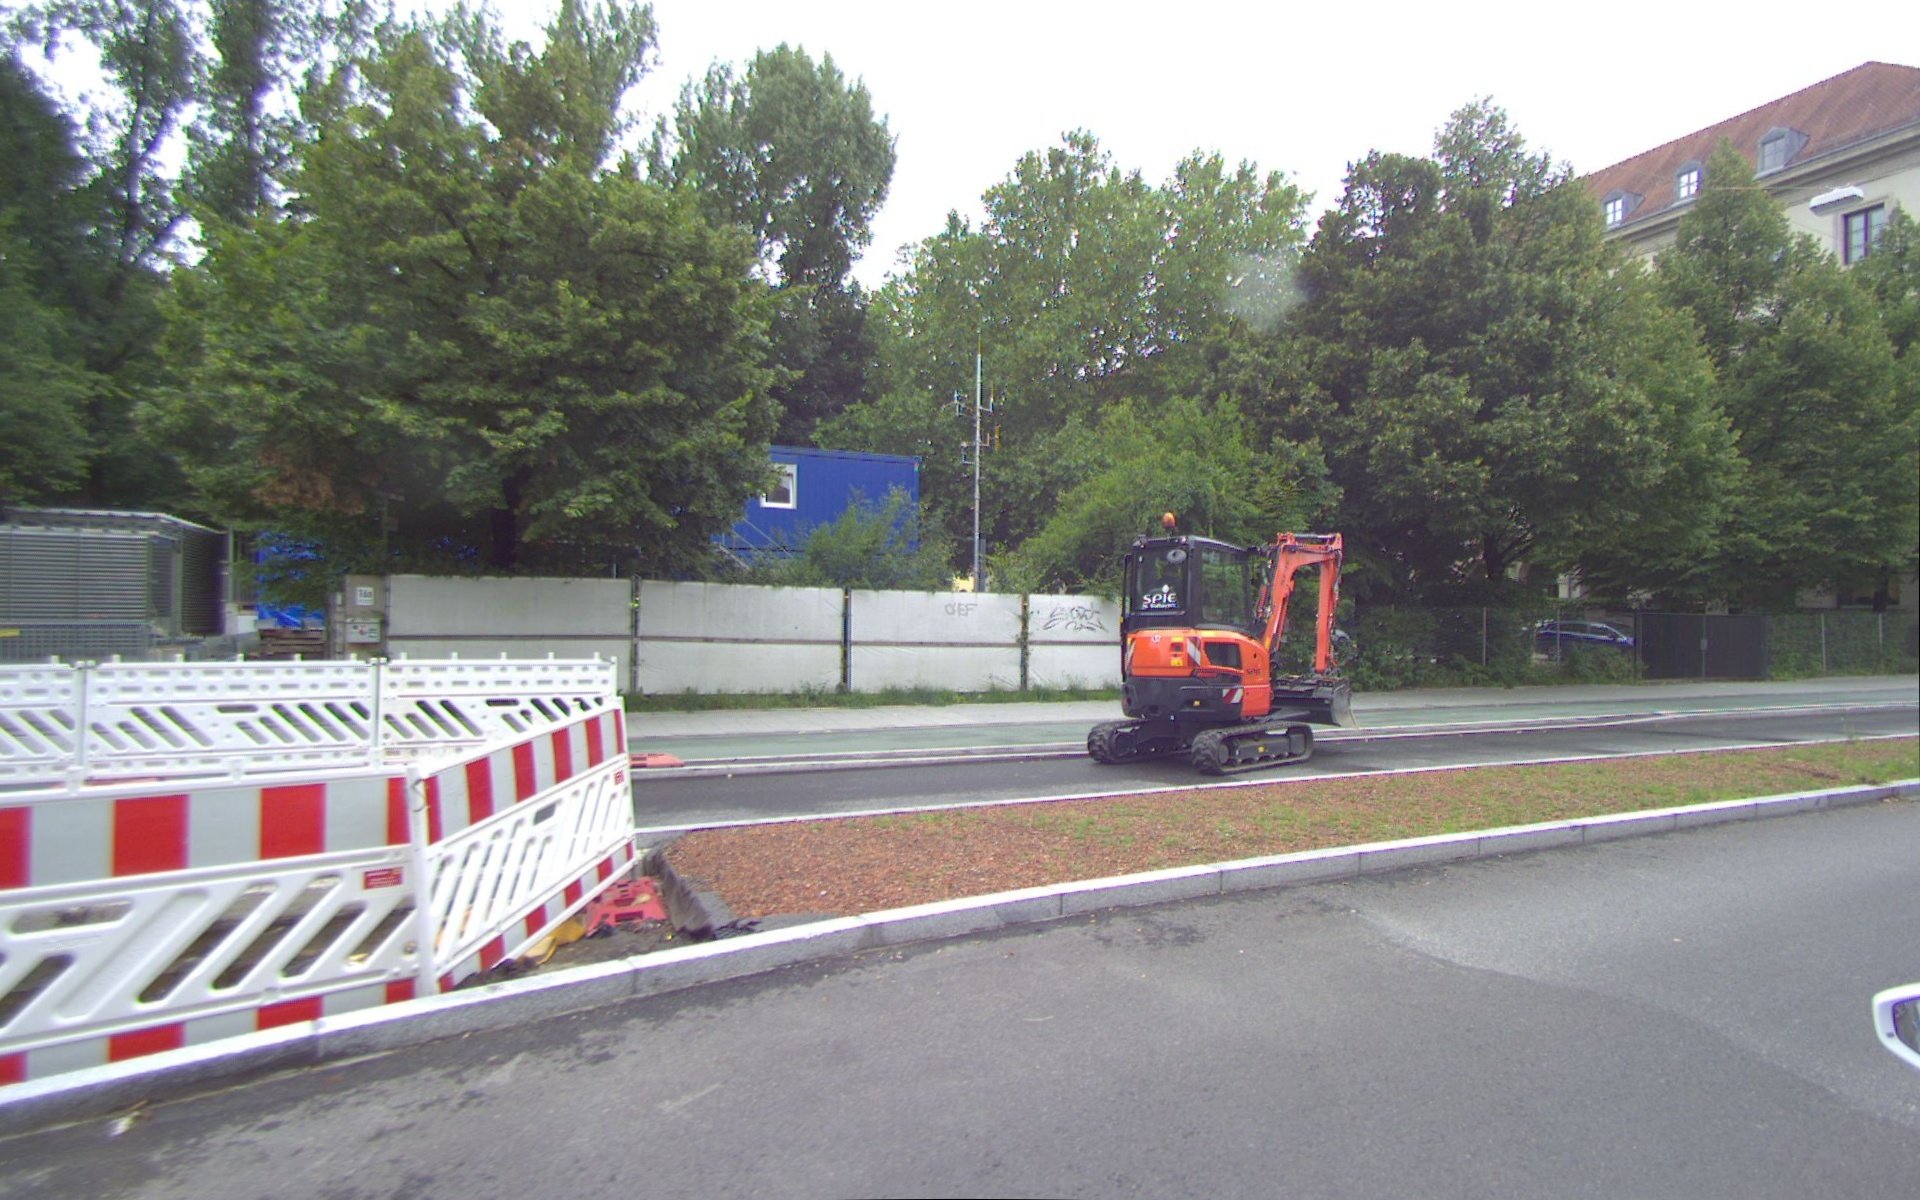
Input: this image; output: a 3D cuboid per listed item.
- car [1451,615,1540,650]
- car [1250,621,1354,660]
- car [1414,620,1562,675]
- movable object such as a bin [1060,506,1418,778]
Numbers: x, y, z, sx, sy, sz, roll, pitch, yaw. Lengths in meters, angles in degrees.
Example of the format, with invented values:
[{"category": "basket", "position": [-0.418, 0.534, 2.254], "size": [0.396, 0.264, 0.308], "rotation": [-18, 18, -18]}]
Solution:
[{"category": "car", "position": [25.326, 1.531, 47.526], "size": [3.889, 1.566, 1.823], "rotation": [0, 0, -27]}, {"category": "car", "position": [14.511, 1.690, 42.603], "size": [4.123, 1.566, 1.823], "rotation": [0, 0, -27]}, {"category": "car", "position": [16.843, 1.464, 32.244], "size": [1.812, 1.566, 3.914], "rotation": [0, 0, -26]}, {"category": "movable object such as a bin", "position": [3.517, 0.466, 12.168], "size": [4.629, 2.676, 1.976], "rotation": [1, -1, -41]}]
